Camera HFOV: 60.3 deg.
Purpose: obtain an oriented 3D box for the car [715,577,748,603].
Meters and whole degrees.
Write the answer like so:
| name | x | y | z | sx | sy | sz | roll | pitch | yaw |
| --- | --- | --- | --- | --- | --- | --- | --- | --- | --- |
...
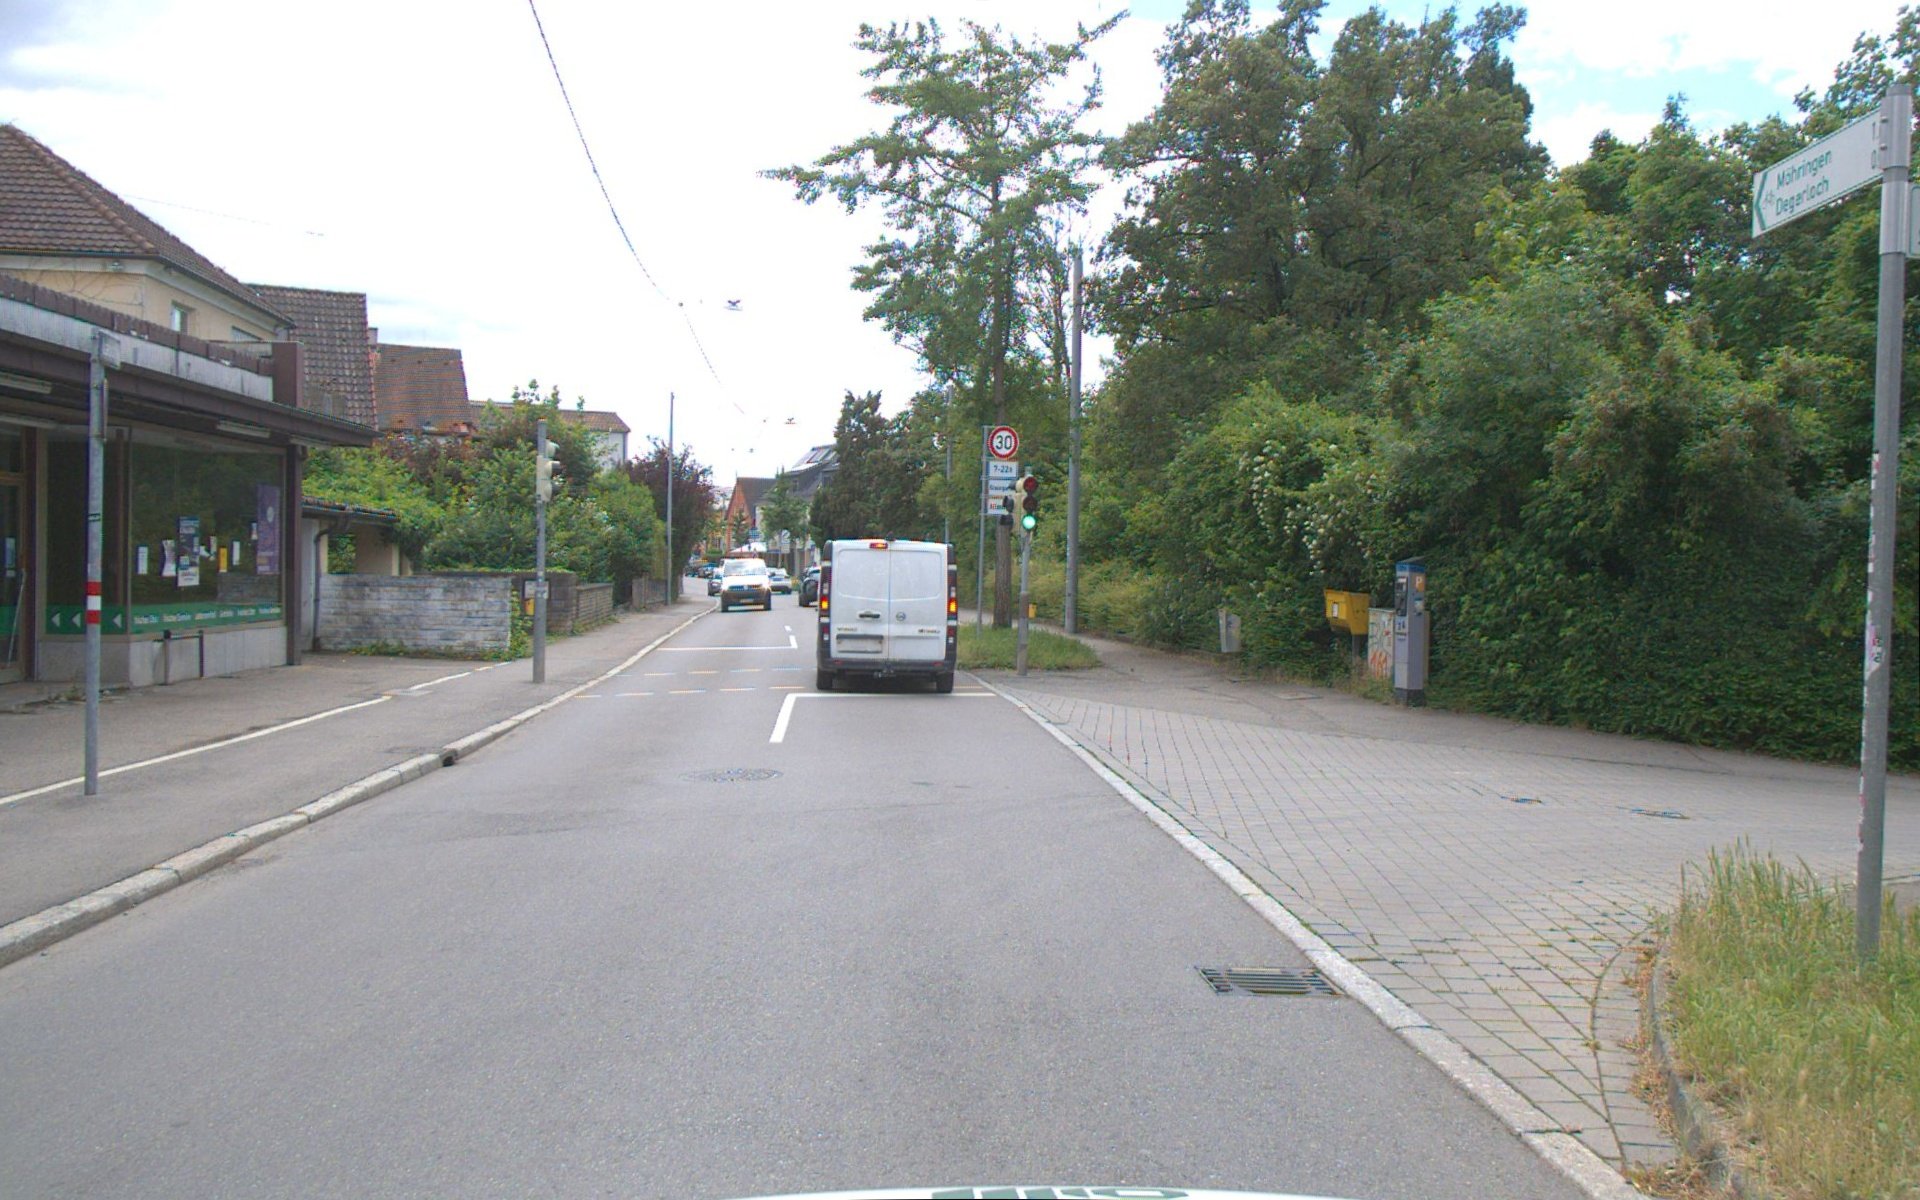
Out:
| name | x | y | z | sx | sy | sz | roll | pitch | yaw |
| --- | --- | --- | --- | --- | --- | --- | --- | --- | --- |
| car | -14.134 | -0.655 | 102.191 | 1.849 | 1.538 | 4.102 | 0 | 1 | -11 |

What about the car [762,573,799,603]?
| name | x | y | z | sx | sy | sz | roll | pitch | yaw |
| --- | --- | --- | --- | --- | --- | --- | --- | --- | --- |
| car | -11.137 | -0.773 | 102.492 | 1.794 | 1.758 | 3.986 | 2 | 0 | -14 |

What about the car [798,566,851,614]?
| name | x | y | z | sx | sy | sz | roll | pitch | yaw |
| --- | --- | --- | --- | --- | --- | --- | --- | --- | --- |
| car | -5.602 | -0.400 | 68.749 | 1.858 | 1.892 | 4.403 | 2 | 0 | -1 |

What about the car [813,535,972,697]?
| name | x | y | z | sx | sy | sz | roll | pitch | yaw |
| --- | --- | --- | --- | --- | --- | --- | --- | --- | --- |
| car | -1.044 | 0.190 | 23.088 | 1.893 | 1.998 | 4.396 | 2 | 0 | -6 |

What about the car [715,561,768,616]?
| name | x | y | z | sx | sy | sz | roll | pitch | yaw |
| --- | --- | --- | --- | --- | --- | --- | --- | --- | --- |
| car | -8.288 | -0.473 | 63.039 | 1.831 | 1.944 | 5.109 | -1 | 1 | -6 |
